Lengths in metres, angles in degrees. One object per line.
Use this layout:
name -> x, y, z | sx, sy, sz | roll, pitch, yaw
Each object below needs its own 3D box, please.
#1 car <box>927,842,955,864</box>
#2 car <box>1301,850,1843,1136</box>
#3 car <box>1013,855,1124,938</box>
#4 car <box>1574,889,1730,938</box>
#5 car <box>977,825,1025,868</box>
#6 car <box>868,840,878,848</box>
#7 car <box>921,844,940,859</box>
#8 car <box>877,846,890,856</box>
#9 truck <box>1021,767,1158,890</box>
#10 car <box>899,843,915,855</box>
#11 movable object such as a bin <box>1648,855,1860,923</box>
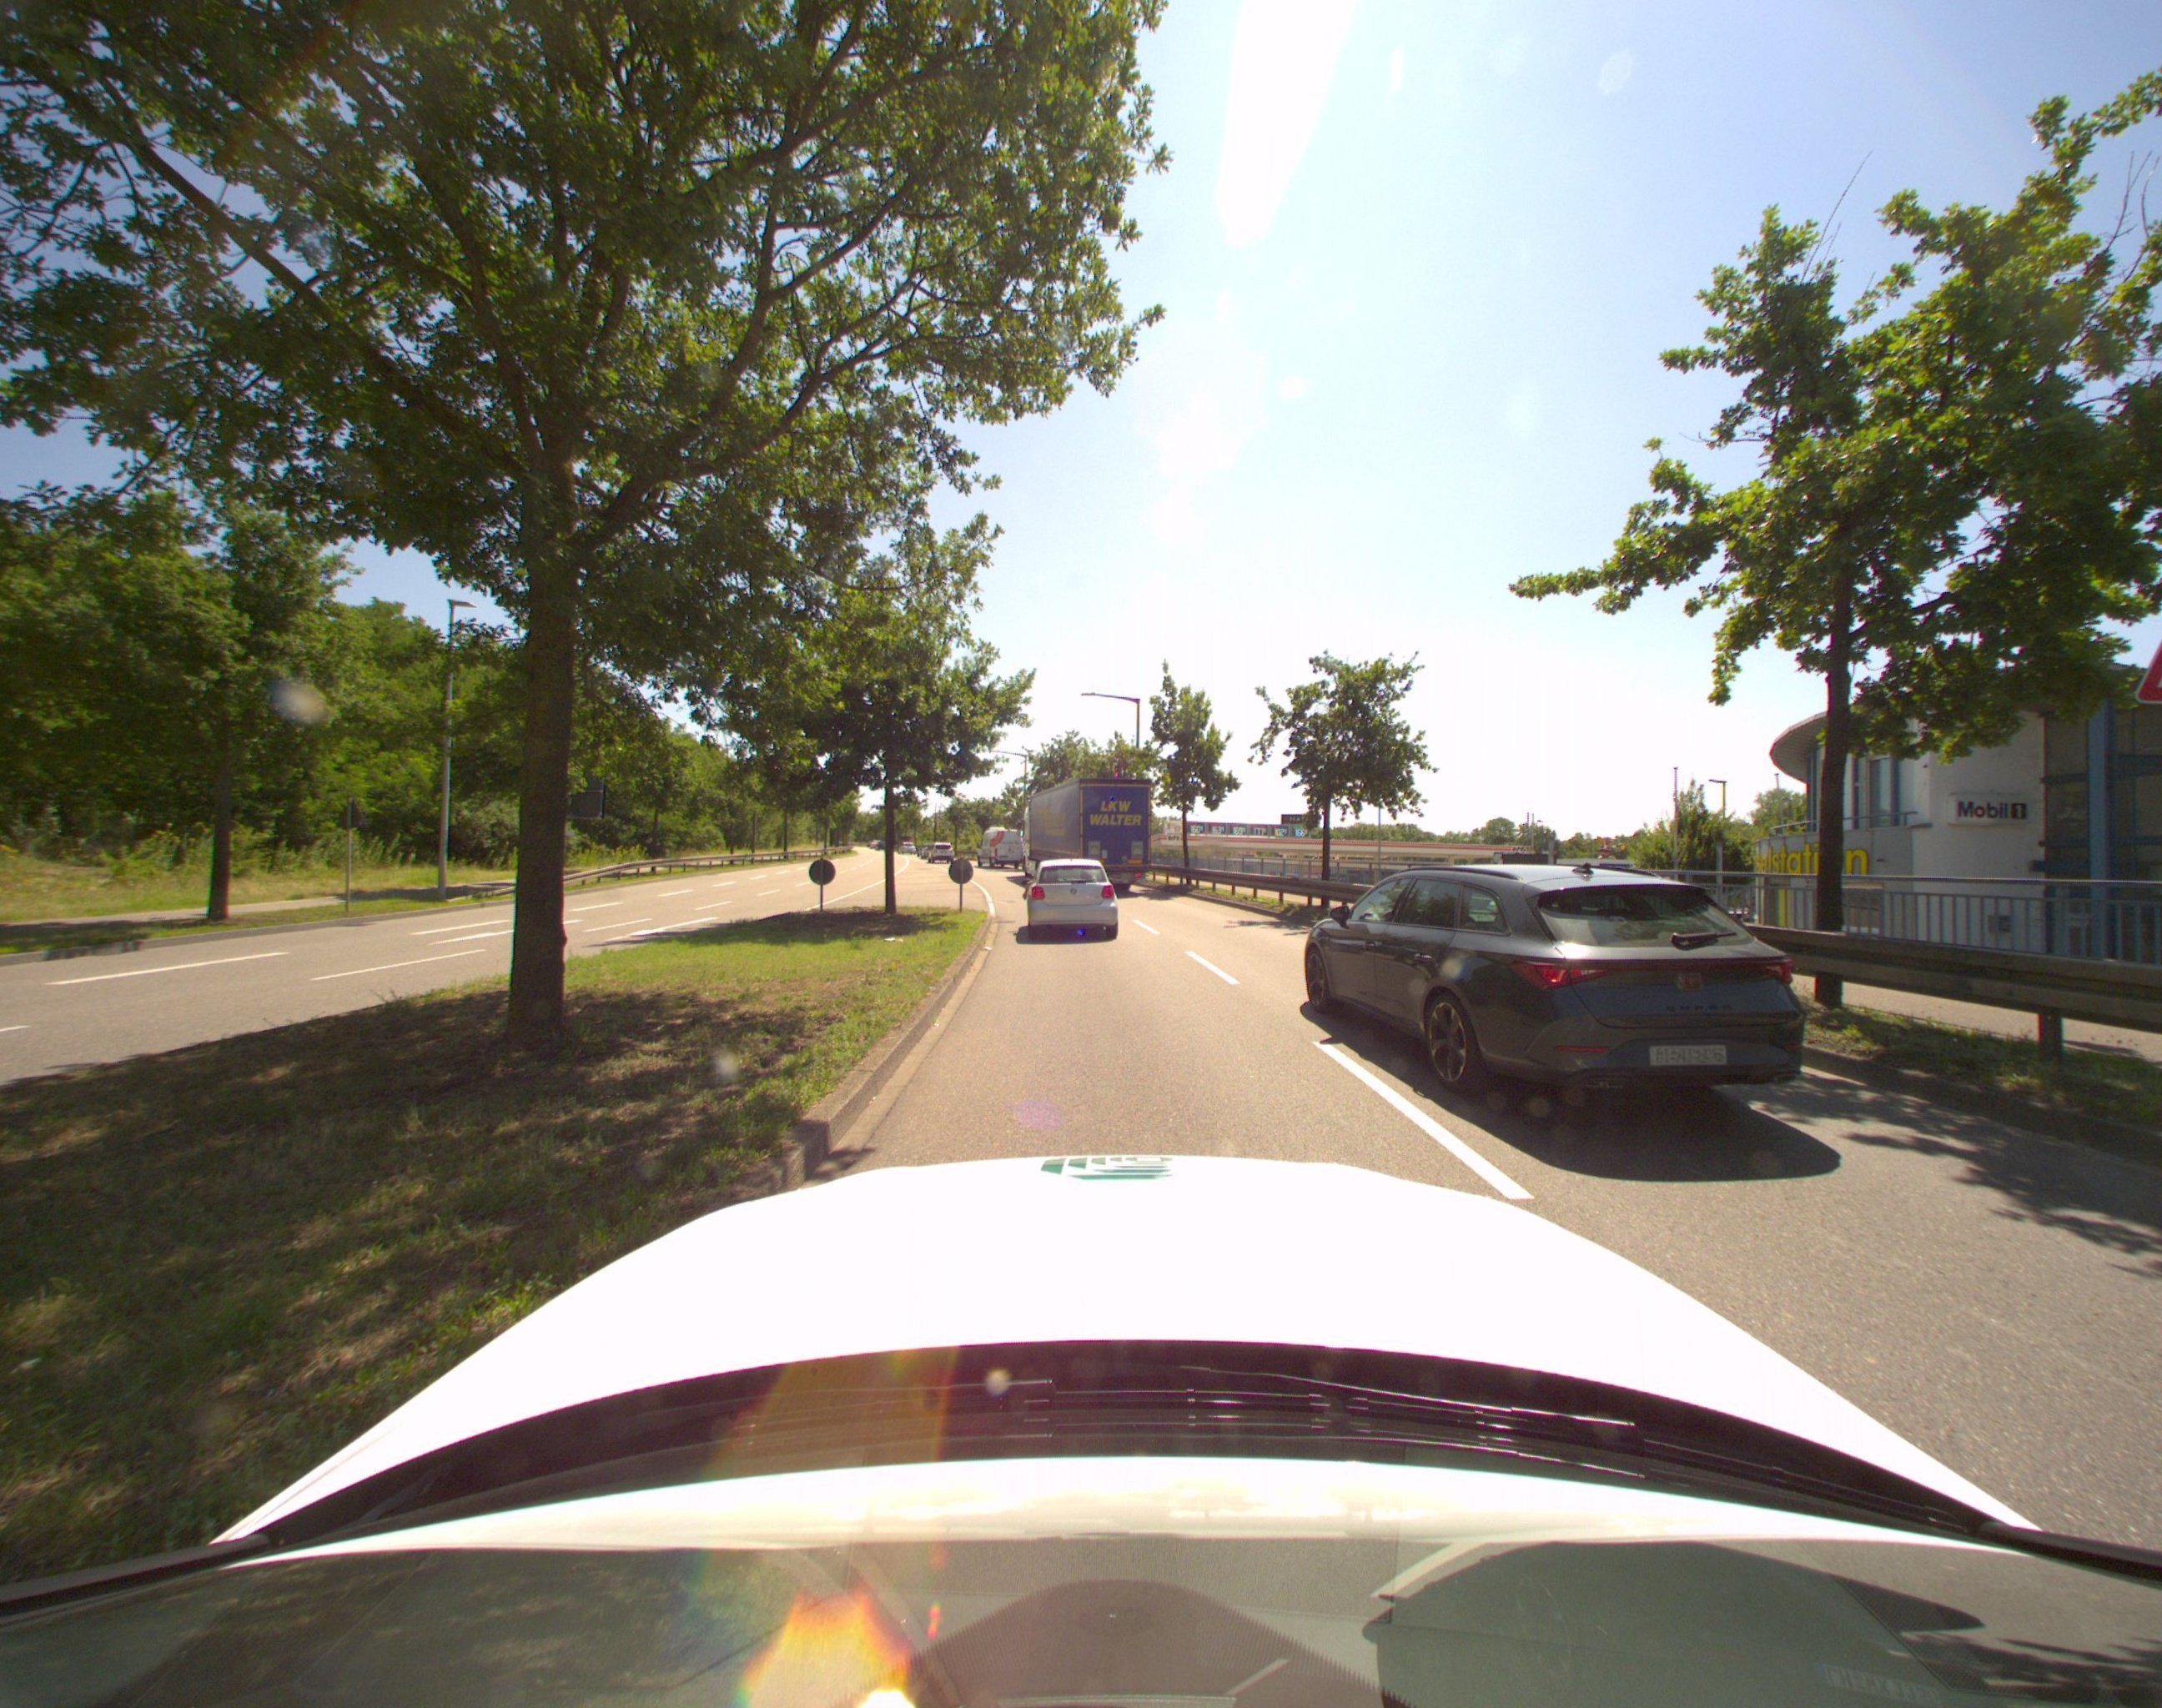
car -> -11.639, -0.072, 67.644 | 1.907, 1.718, 4.201 | 1, -1, -15
car -> 3.103, 0.752, 6.310 | 1.600, 1.456, 4.232 | 0, -1, -1
car -> -0.349, 0.777, 16.054 | 1.646, 1.439, 3.524 | 1, -1, -10
car -> 20.462, 2.134, 29.299 | 4.582, 1.660, 1.595 | 0, -1, -2
car -> -5.760, -0.538, 57.827 | 2.181, 2.900, 6.322 | 1, 1, -17
car -> -34.721, -1.665, 135.846 | 1.458, 1.314, 3.621 | 1, -1, -13
car -> -14.587, -0.215, 78.732 | 1.497, 1.360, 3.643 | 1, 0, -15
car -> -29.306, -0.448, 120.870 | 1.666, 1.465, 3.565 | 1, -1, -13
truck -> -0.283, -0.820, 36.198 | 2.834, 4.198, 16.410 | 0, 0, -11
car -> -21.494, -0.606, 100.731 | 1.612, 1.360, 3.642 | 1, 0, -17
movable object such as a bin -> 38.788, 1.969, 47.009 | 11.043, 3.707, 3.026 | 1, -1, -10
